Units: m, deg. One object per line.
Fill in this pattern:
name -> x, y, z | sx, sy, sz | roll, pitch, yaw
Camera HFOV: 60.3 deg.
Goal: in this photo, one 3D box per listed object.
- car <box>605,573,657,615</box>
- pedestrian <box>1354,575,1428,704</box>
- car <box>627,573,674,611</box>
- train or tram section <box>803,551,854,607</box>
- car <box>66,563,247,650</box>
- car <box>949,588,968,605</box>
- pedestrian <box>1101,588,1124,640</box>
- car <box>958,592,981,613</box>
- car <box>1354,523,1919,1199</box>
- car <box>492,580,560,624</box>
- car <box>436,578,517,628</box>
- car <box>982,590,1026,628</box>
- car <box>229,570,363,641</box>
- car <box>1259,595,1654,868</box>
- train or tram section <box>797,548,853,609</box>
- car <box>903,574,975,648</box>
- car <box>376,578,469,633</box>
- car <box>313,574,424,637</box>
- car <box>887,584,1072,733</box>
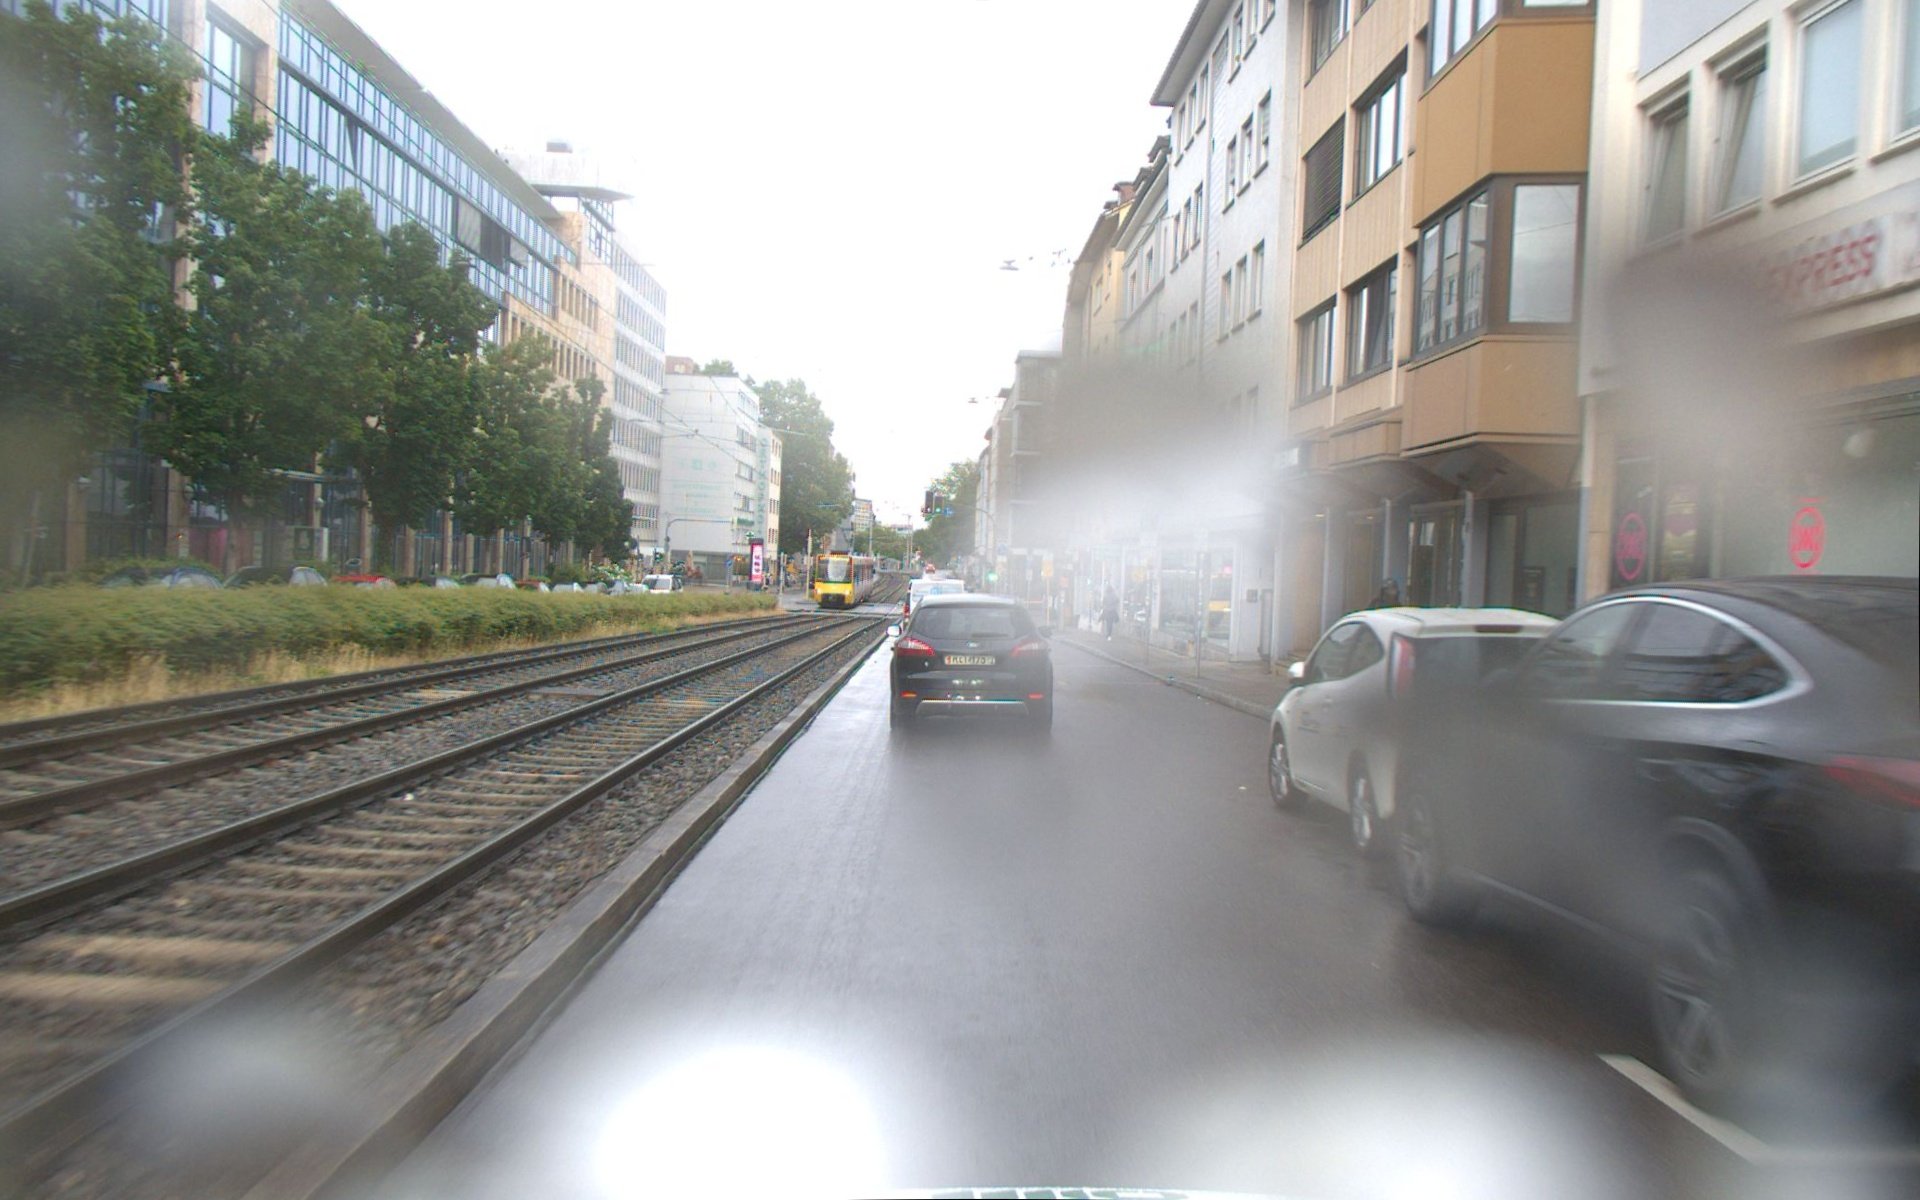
car -> -15.874, -0.256, 79.942 | 1.869, 1.897, 4.569 | 2, -1, -4
pedestrian -> 5.788, 0.524, 22.266 | 0.681, 1.681, 0.965 | 1, 0, -2
car -> -16.175, -0.377, 86.660 | 1.869, 1.897, 4.569 | 2, -1, -4
train or tram section -> -9.639, -1.458, 122.159 | 3.468, 3.843, 11.323 | 1, 0, -4
car -> -14.741, 0.111, 30.593 | 1.537, 1.461, 4.174 | 1, 0, -4
car -> -0.161, -0.363, 171.547 | 1.867, 1.662, 4.573 | 2, -1, 0
pedestrian -> 4.655, 0.424, 50.614 | 0.599, 1.564, 0.648 | 1, 0, -2
car -> 0.754, 0.216, 139.863 | 1.867, 1.662, 4.573 | 2, -1, 0
car -> 3.115, 0.667, 6.475 | 1.771, 1.660, 5.168 | 1, 0, -1
car -> -15.185, 0.064, 58.033 | 1.537, 1.461, 4.174 | 1, 0, -4
car -> -15.121, 0.080, 51.926 | 1.537, 1.461, 4.174 | 1, 0, -4
car -> 2.048, 0.439, 77.979 | 1.867, 1.662, 4.573 | 2, -1, 0
car -> -14.784, 0.122, 37.051 | 1.537, 1.461, 4.174 | 1, 0, -4
car -> 3.120, 0.741, 11.094 | 1.525, 1.502, 3.565 | 1, 0, -1
train or tram section -> -8.940, -1.379, 110.875 | 3.443, 3.843, 11.323 | 1, 0, -4
car -> -0.531, 0.315, 46.024 | 1.867, 1.897, 4.573 | 2, -1, 0
car -> -15.300, 0.158, 47.295 | 1.537, 1.461, 4.174 | 1, 0, -4
car -> -14.930, 0.127, 41.936 | 1.537, 1.461, 4.174 | 1, 0, -4
car -> 0.186, 0.624, 18.836 | 1.868, 1.488, 3.444 | 2, -1, -1
